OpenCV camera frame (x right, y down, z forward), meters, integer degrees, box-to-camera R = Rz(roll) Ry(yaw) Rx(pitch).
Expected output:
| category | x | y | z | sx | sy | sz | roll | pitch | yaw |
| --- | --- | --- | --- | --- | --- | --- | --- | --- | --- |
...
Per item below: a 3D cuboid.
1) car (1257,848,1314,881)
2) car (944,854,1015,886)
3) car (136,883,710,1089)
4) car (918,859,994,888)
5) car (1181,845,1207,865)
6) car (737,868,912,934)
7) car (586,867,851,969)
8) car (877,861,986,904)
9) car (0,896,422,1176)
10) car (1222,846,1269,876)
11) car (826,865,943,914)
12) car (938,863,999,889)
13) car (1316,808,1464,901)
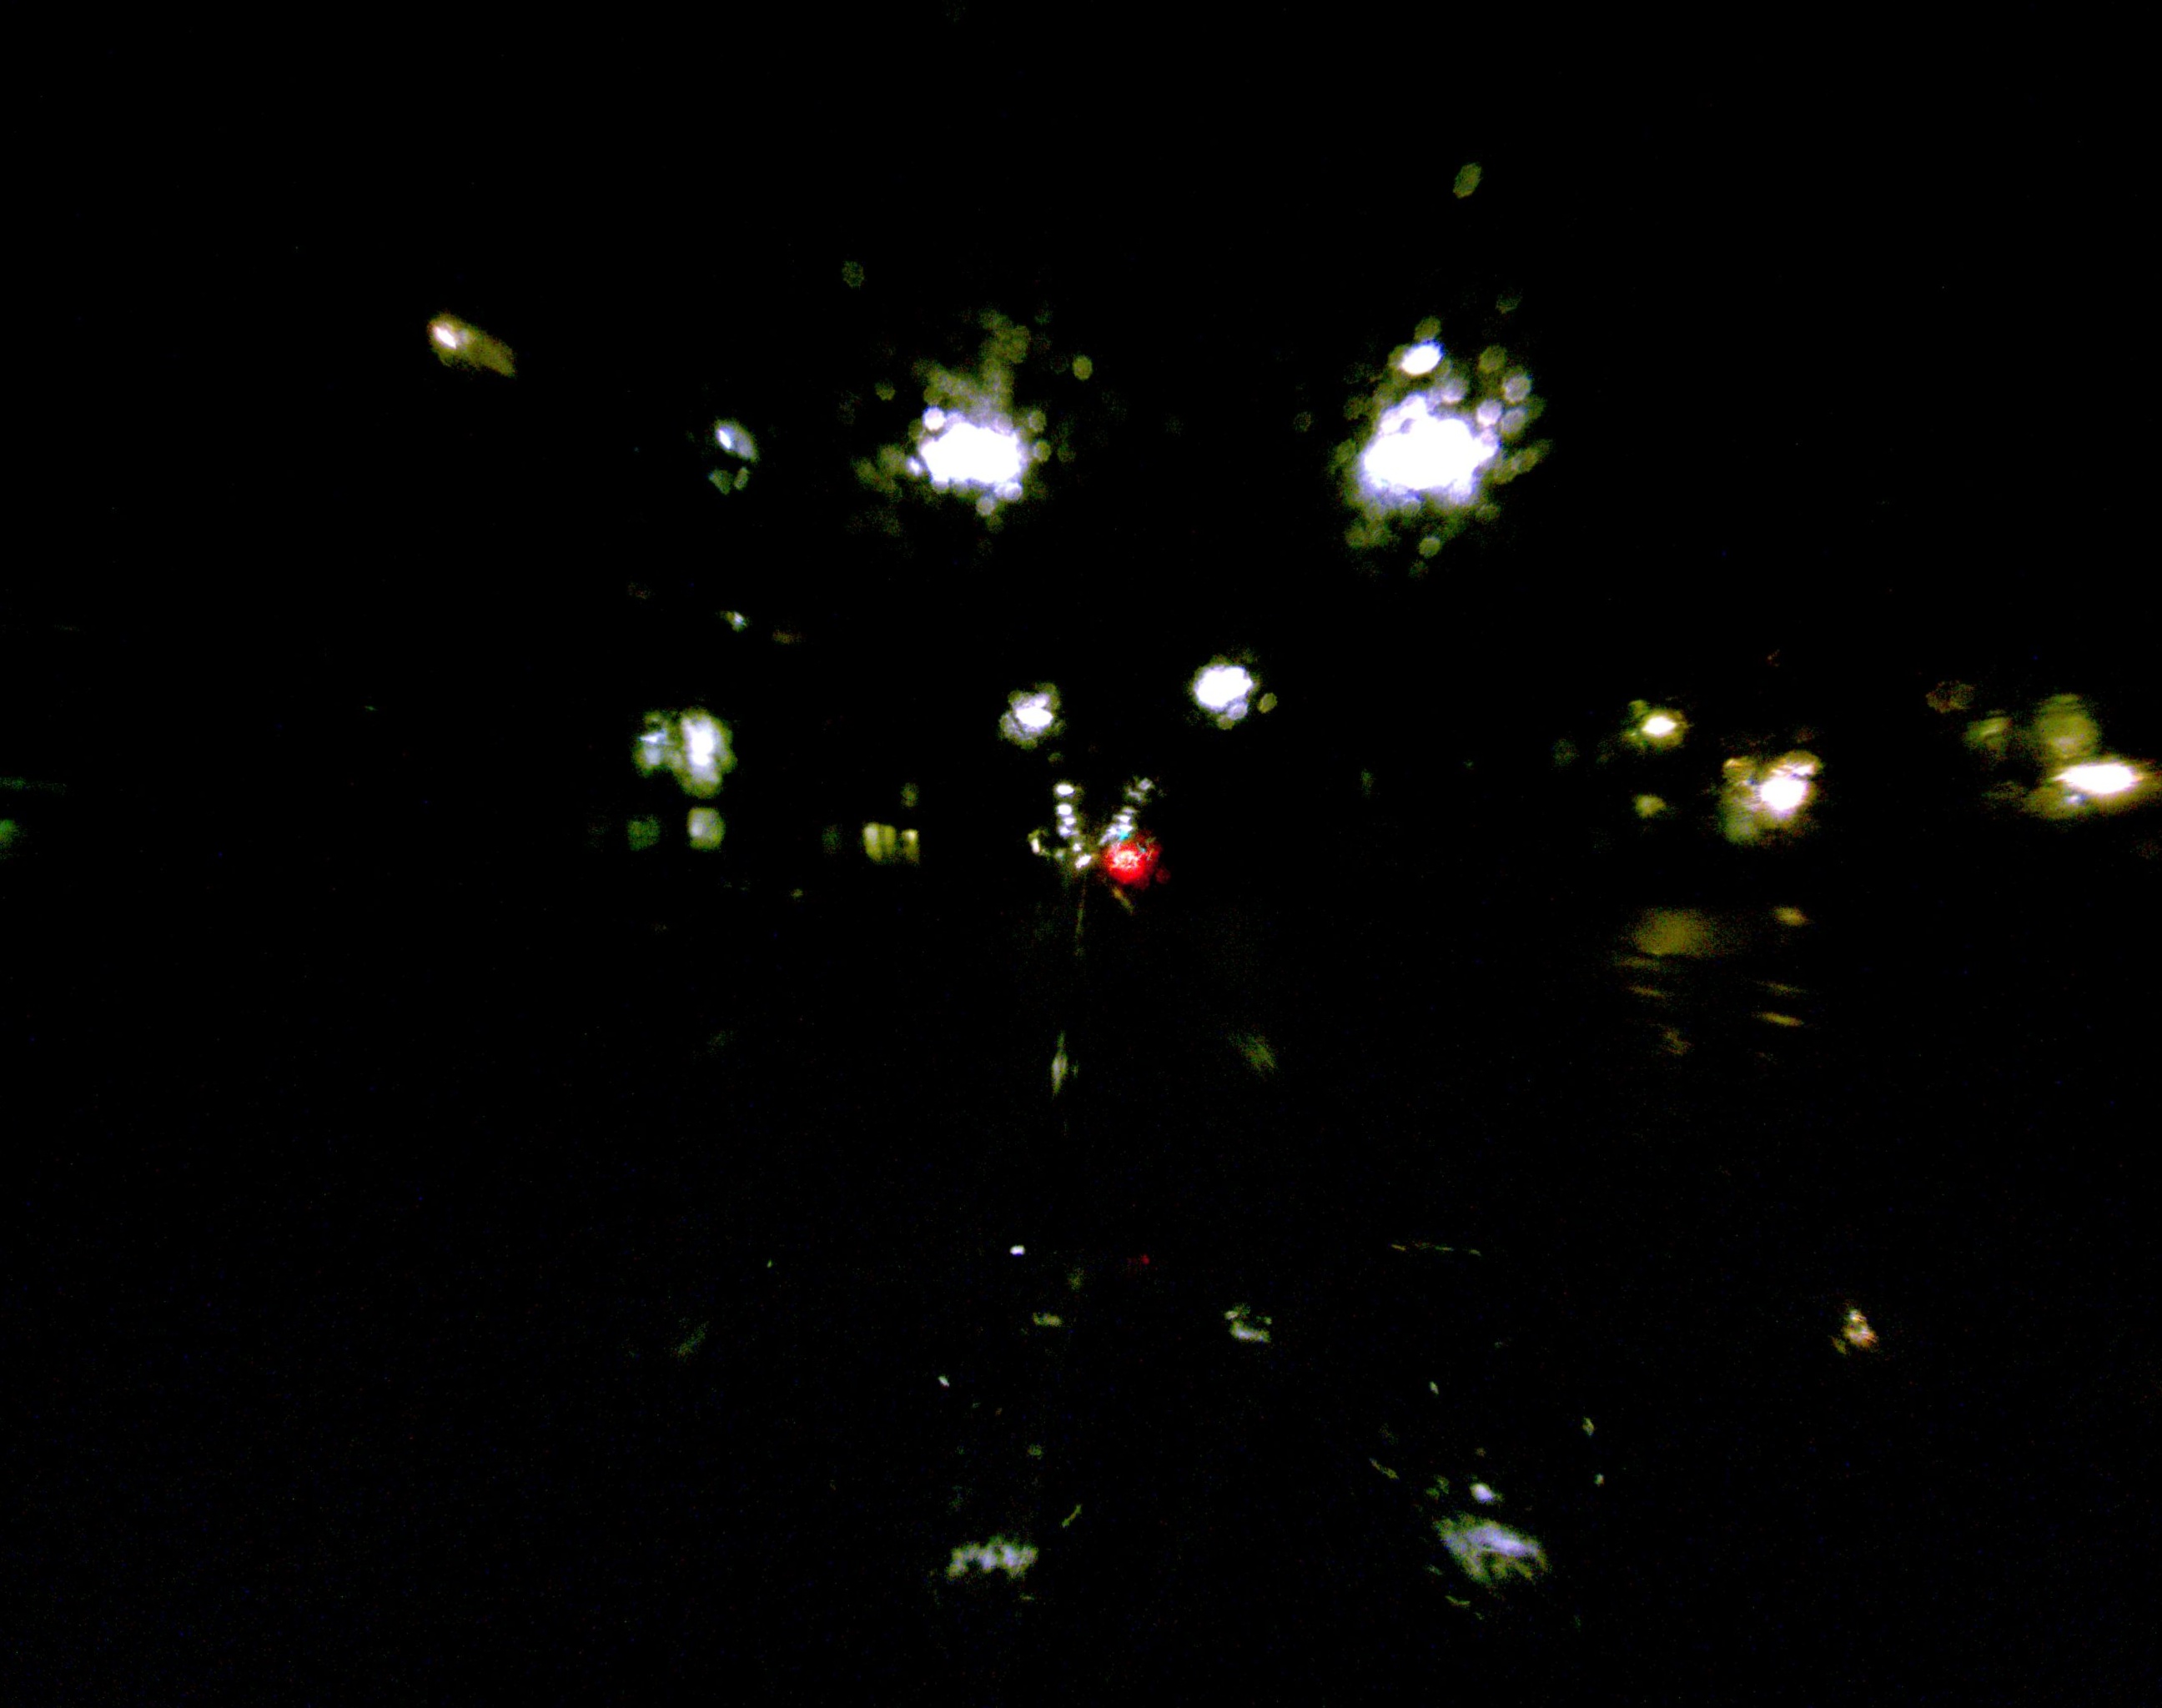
| category | x | y | z | sx | sy | sz | roll | pitch | yaw |
| --- | --- | --- | --- | --- | --- | --- | --- | --- | --- |
| car | 9.678 | 0.452 | 36.216 | 1.720 | 1.399 | 3.389 | -4 | 1 | 0 |
| car | -6.293 | 0.965 | 47.256 | 3.965 | 1.760 | 1.666 | -3 | 1 | -37 |
| car | -6.596 | 1.152 | 8.237 | 4.264 | 1.409 | 1.780 | -3 | 1 | -41 |
| car | -7.223 | 1.106 | 44.008 | 3.963 | 1.499 | 1.617 | -2 | 1 | -26 |
| car | 9.746 | 0.063 | 65.974 | 1.693 | 1.566 | 3.918 | -2 | 1 | 1 |
| car | -6.932 | 1.216 | 20.805 | 4.170 | 1.437 | 1.651 | -3 | 1 | -42 |
| car | -6.758 | 1.113 | 14.535 | 1.658 | 1.473 | 4.194 | -3 | 0 | 42 |
| car | -6.177 | 1.126 | 31.584 | 4.021 | 1.519 | 1.796 | -3 | 1 | -42 |
| car | -6.732 | 1.110 | 4.933 | 3.579 | 1.463 | 1.649 | -1 | 0 | -37 |
| car | 9.662 | 0.378 | 44.848 | 1.846 | 1.573 | 3.663 | -4 | 1 | 0 |
| car | -7.042 | 1.232 | 27.486 | 1.712 | 1.519 | 3.675 | -1 | 1 | 45 |
| car | -6.069 | 1.169 | 41.213 | 1.503 | 1.216 | 2.950 | -1 | 1 | 43 |
| car | 9.550 | -0.007 | 24.093 | 2.248 | 2.494 | 5.258 | -4 | 1 | -2 |
